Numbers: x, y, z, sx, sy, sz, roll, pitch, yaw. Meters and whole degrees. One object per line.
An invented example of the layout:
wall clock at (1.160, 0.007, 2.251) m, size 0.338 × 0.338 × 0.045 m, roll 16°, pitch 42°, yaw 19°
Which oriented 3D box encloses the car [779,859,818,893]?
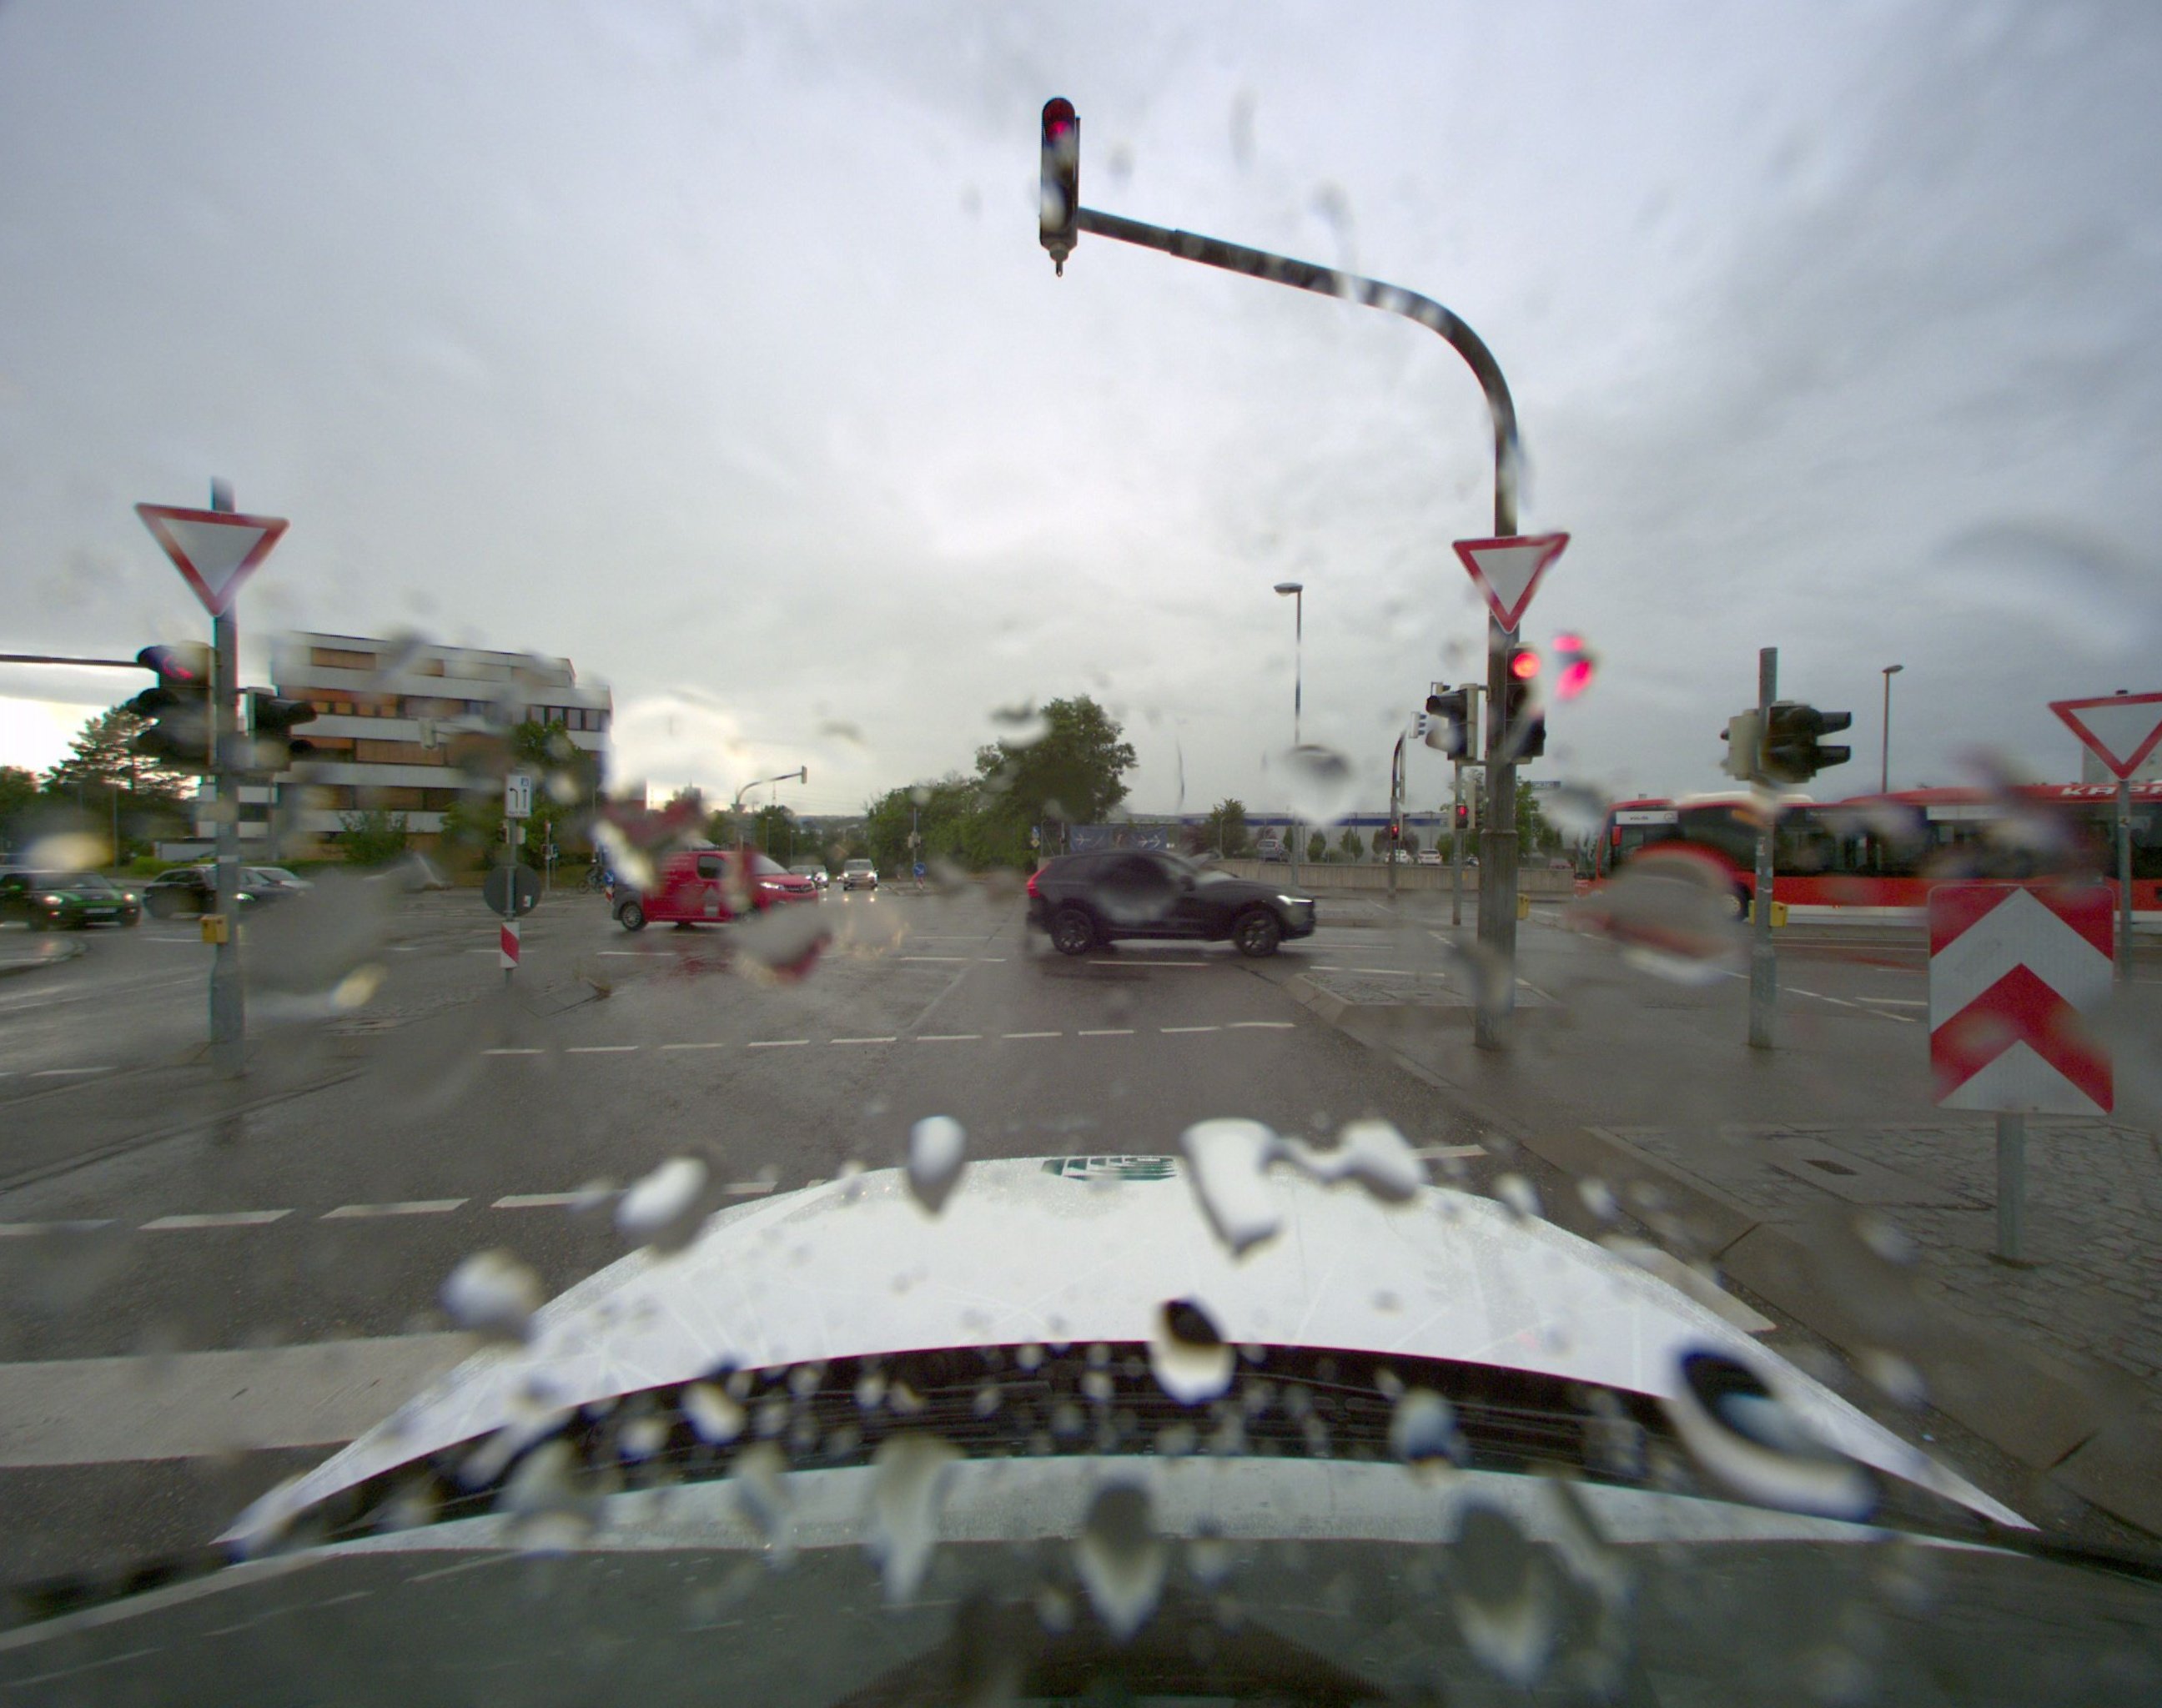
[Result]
car at (-16.815, 1.247, 48.590) m, size 1.998 × 1.895 × 3.978 m, roll 0°, pitch 0°, yaw -16°

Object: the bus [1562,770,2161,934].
bus at (18.720, -0.125, 19.335) m, size 12.176 × 3.321 × 3.090 m, roll 1°, pitch 0°, yaw 19°

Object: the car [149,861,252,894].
car at (-45.668, 1.185, 42.263) m, size 3.958 × 1.596 × 1.965 m, roll 0°, pitch 0°, yaw 14°

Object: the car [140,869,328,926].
car at (-24.872, 1.225, 23.933) m, size 4.621 × 1.476 × 2.009 m, roll 0°, pitch 0°, yaw 18°

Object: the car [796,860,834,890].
car at (-18.227, 1.420, 56.015) m, size 1.995 × 1.895 × 3.985 m, roll 0°, pitch 0°, yaw -11°

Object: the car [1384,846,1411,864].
car at (26.387, 0.090, 67.838) m, size 1.976 × 1.478 × 4.021 m, roll 0°, pitch 0°, yaw 22°

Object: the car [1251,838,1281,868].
car at (13.100, -0.080, 57.537) m, size 1.979 × 2.013 × 4.015 m, roll 0°, pitch 0°, yaw 13°

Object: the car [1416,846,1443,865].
car at (28.693, 0.099, 67.158) m, size 1.976 × 1.478 × 4.021 m, roll 0°, pitch 0°, yaw 21°

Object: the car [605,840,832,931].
car at (-8.665, 0.701, 19.599) m, size 4.737 × 2.013 × 2.008 m, roll 0°, pitch 0°, yaw 14°

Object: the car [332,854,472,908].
car at (-24.730, 0.942, 29.695) m, size 4.108 × 1.840 × 2.009 m, roll 0°, pitch 0°, yaw 17°

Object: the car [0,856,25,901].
car at (-45.865, 1.005, 33.850) m, size 3.950 × 1.838 × 1.715 m, roll 0°, pitch 0°, yaw 28°

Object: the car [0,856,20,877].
car at (-111.455, 1.286, 83.675) m, size 2.011 × 2.013 × 4.953 m, roll 0°, pitch 0°, yaw -41°

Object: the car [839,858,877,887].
car at (-13.118, 1.063, 48.051) m, size 1.995 × 1.618 × 3.983 m, roll 0°, pitch 0°, yaw -13°

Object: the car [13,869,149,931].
car at (-25.418, 1.115, 20.695) m, size 3.416 × 1.387 × 1.692 m, roll 0°, pitch 0°, yaw 31°

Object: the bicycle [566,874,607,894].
bicycle at (-26.343, 1.588, 43.372) m, size 1.771 × 1.052 × 0.609 m, roll 0°, pitch 0°, yaw -5°

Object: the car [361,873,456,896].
car at (-36.023, 1.599, 43.728) m, size 3.521 × 1.105 × 1.806 m, roll 0°, pitch 0°, yaw -24°

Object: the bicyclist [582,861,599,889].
bicyclist at (-26.119, 1.115, 43.392) m, size 0.542 × 1.446 × 0.602 m, roll 0°, pitch 0°, yaw -5°

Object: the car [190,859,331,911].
car at (-28.522, 1.021, 28.332) m, size 3.953 × 1.684 × 2.010 m, roll 0°, pitch 0°, yaw 21°

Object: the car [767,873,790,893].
car at (-32.354, 3.062, 87.168) m, size 1.997 × 1.895 × 3.979 m, roll 0°, pitch 0°, yaw -15°

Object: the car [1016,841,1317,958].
car at (1.466, 0.674, 13.350) m, size 4.581 × 1.679 × 2.043 m, roll -1°, pitch 0°, yaw 16°

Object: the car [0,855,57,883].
car at (-71.101, 0.975, 55.015) m, size 3.948 × 1.849 × 2.013 m, roll 0°, pitch 0°, yaw 32°
